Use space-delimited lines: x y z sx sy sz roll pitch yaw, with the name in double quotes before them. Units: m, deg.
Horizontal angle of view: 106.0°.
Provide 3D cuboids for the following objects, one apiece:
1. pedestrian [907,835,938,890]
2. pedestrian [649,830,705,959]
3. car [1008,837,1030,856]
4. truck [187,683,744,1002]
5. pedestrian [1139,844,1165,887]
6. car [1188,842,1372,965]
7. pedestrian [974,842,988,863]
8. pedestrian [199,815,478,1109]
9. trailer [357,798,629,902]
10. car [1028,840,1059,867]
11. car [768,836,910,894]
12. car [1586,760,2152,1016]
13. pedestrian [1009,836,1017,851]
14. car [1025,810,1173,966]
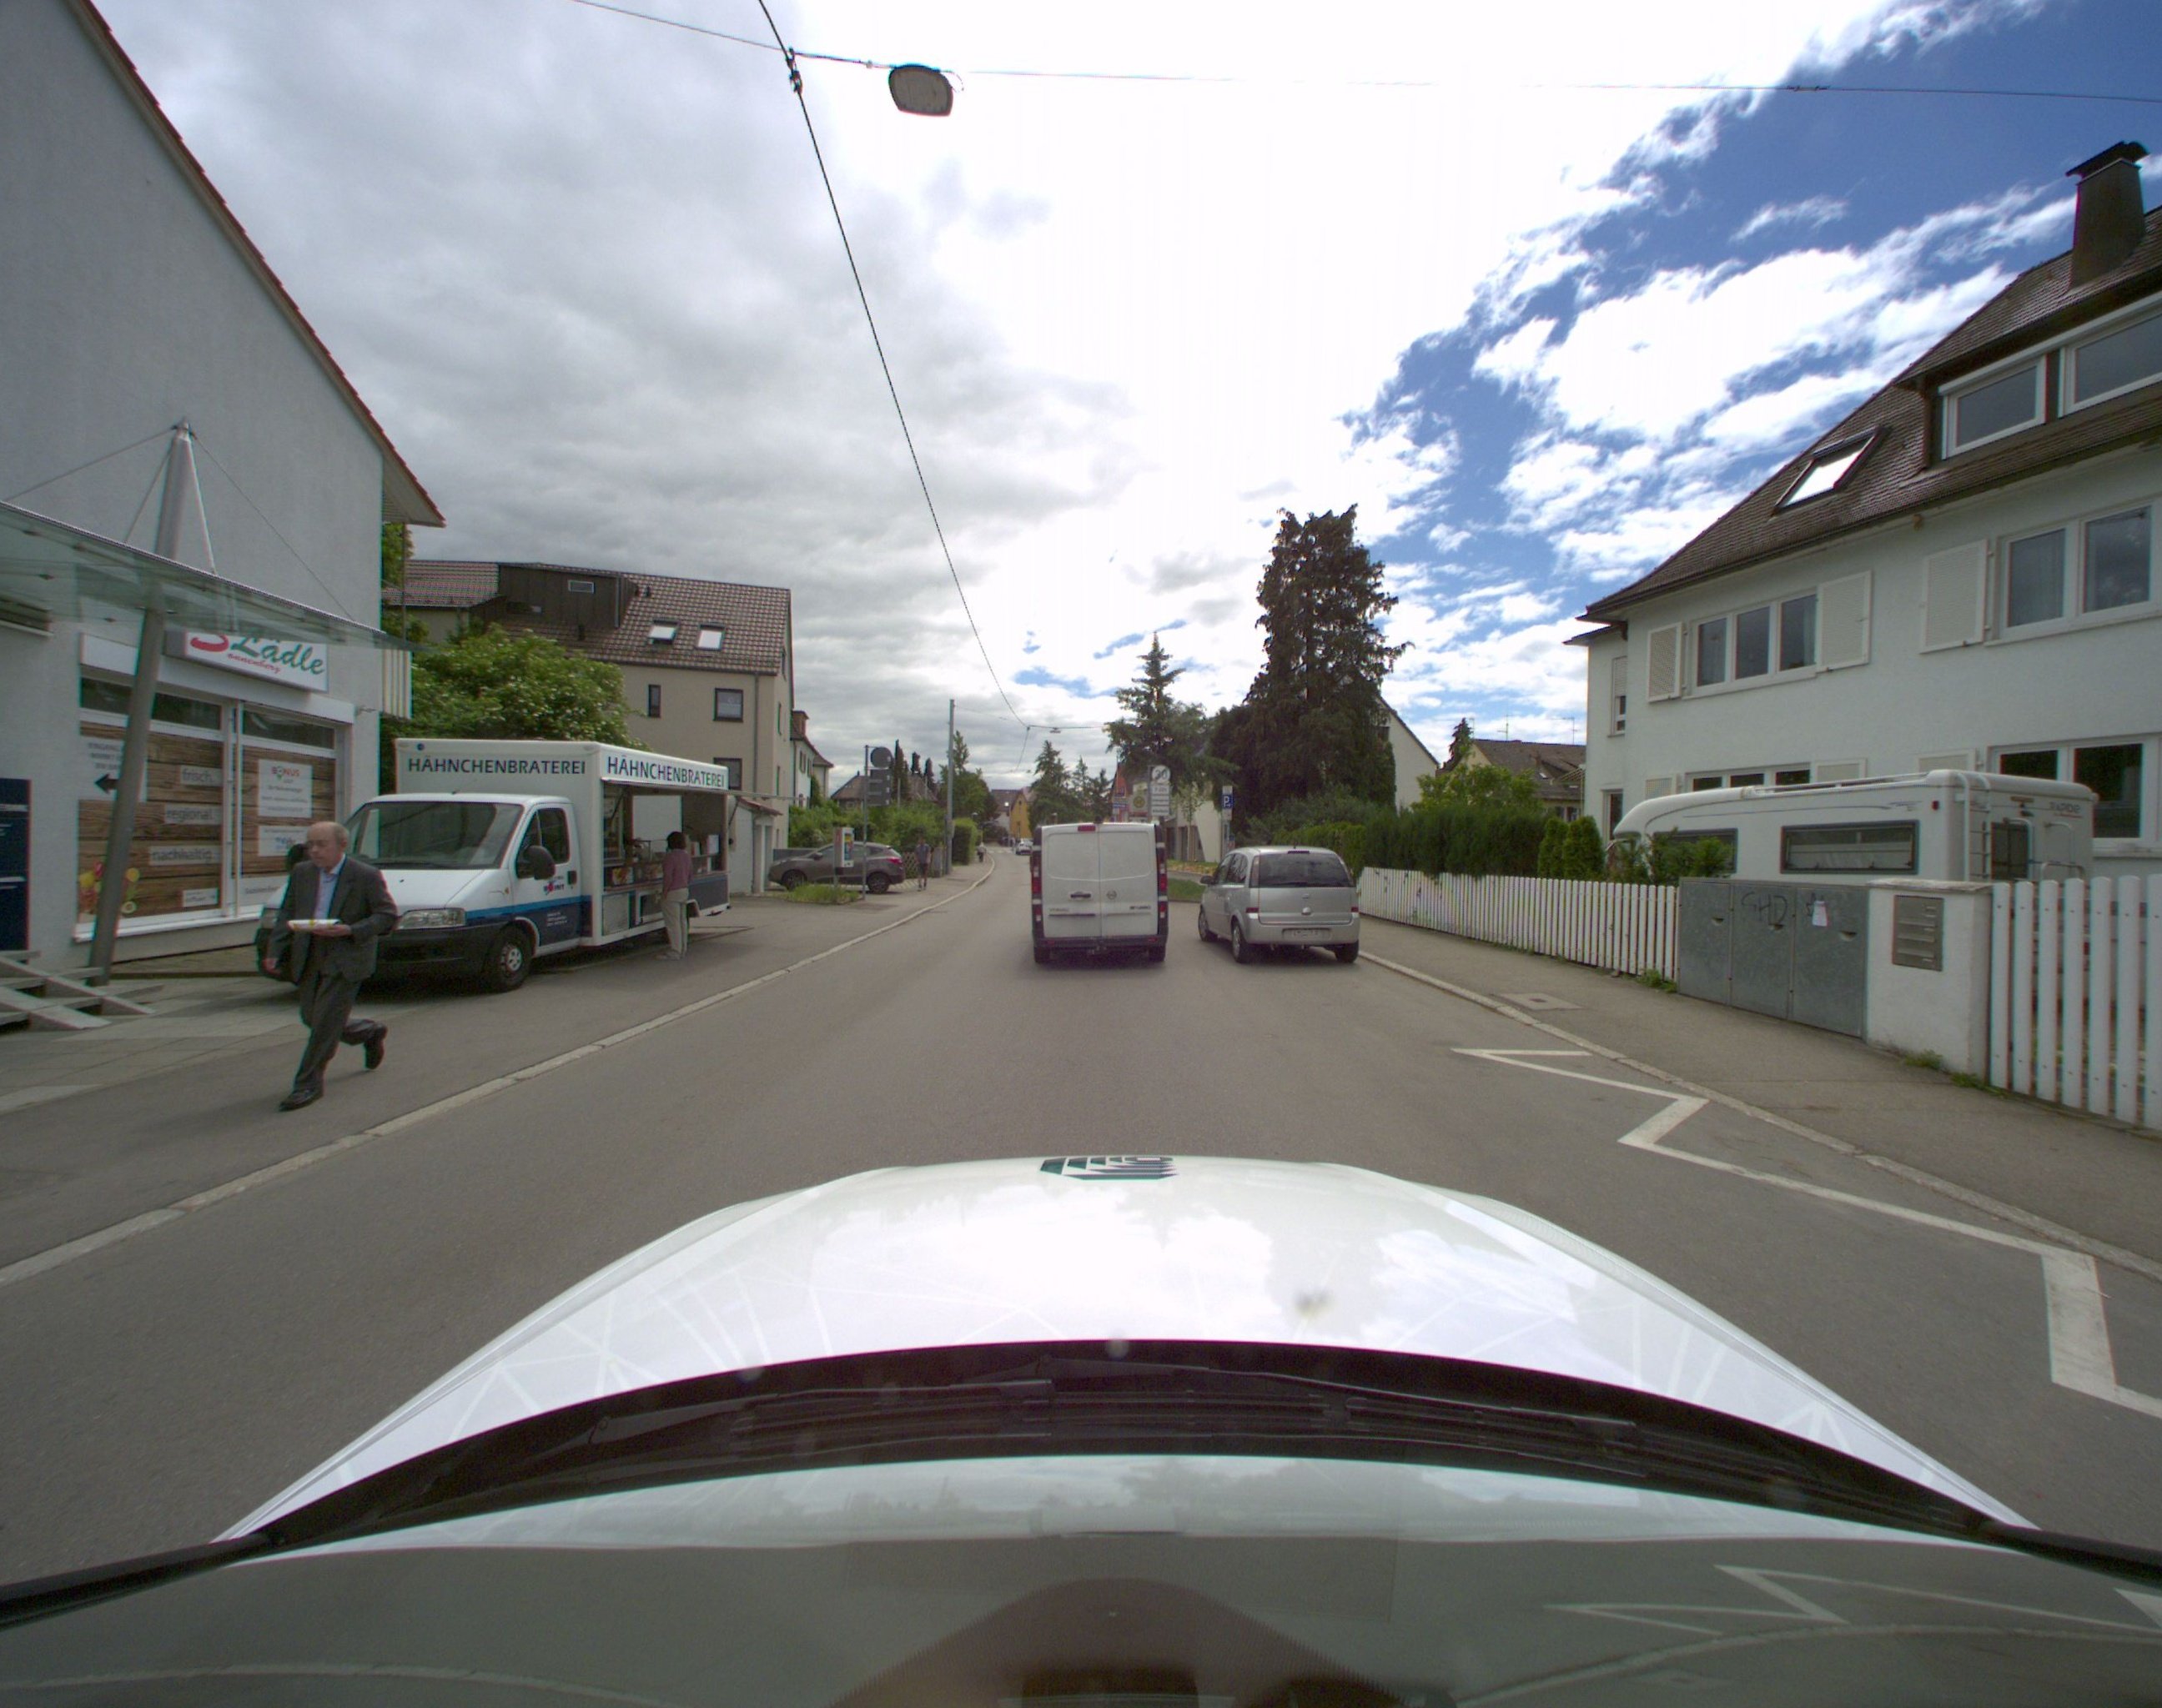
"pedestrian" -5.750 0.305 29.582 0.730 1.946 1.218 3 0 2
"pedestrian" -5.496 0.534 11.098 0.400 1.695 0.596 3 0 -4
"car" -6.196 -0.767 80.913 1.991 1.782 3.991 0 0 -7
"truck" -6.902 -0.104 10.693 2.468 2.840 6.699 1 0 -4
"pedestrian" 2.813 0.435 32.294 0.852 1.645 0.883 3 0 -1
"car" 2.876 0.631 12.651 1.755 1.582 4.015 -1 0 -2
"pedestrian" -7.509 -0.103 61.247 0.880 1.485 0.451 3 0 -27
"pedestrian" -4.767 0.625 5.329 0.720 1.686 1.110 3 1 2
"trailer" -13.522 -0.103 18.973 4.854 2.079 1.701 3 2 -5
"car" -2.777 -0.044 59.405 1.991 1.848 3.991 0 0 -7
"car" -7.955 0.366 27.162 4.316 1.695 1.790 3 0 -14
"car" 10.219 0.381 11.391 2.498 2.681 5.168 3 0 -10
"pedestrian" -7.684 -1.153 91.946 0.805 1.609 0.625 3 0 -12
"car" 0.127 0.434 12.727 1.911 2.002 4.433 0 0 -3
